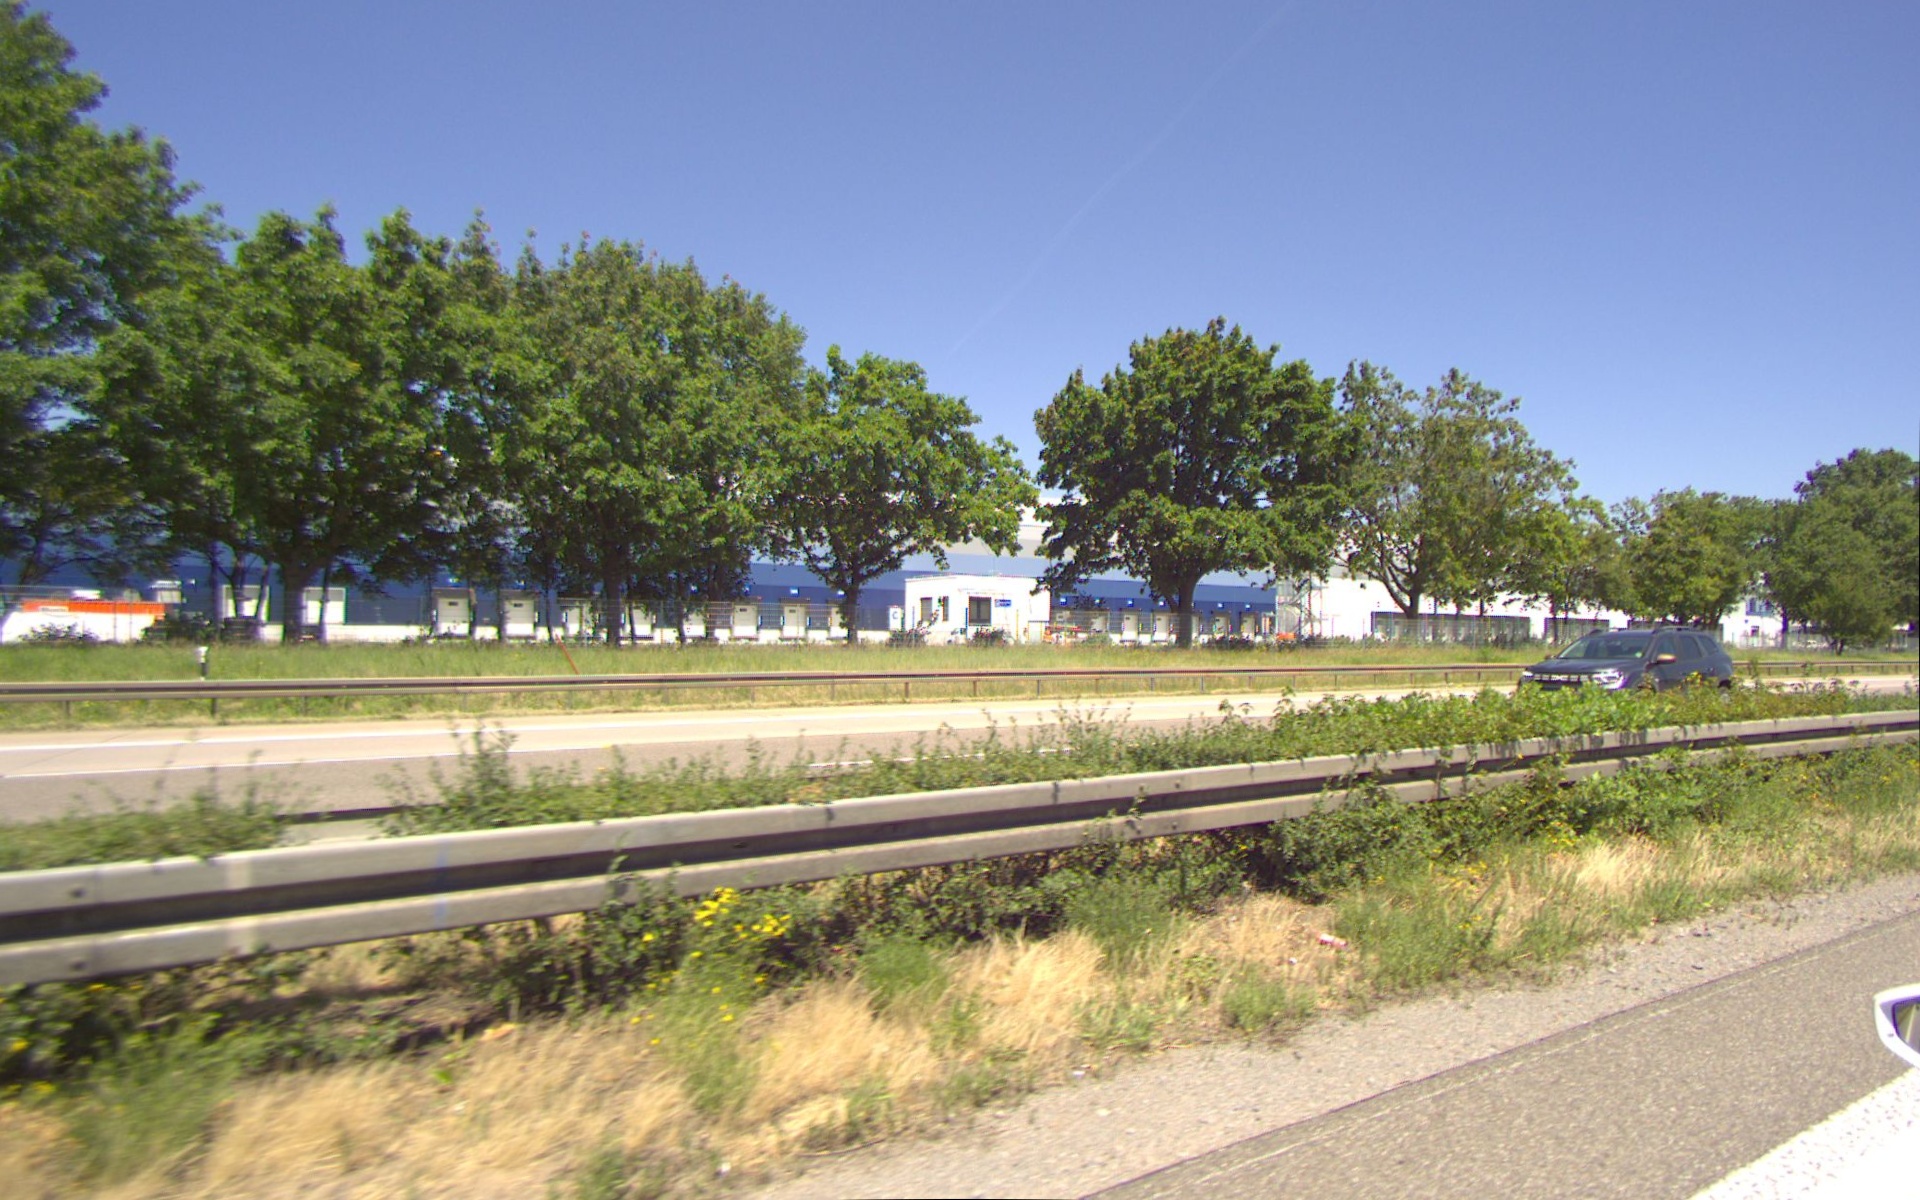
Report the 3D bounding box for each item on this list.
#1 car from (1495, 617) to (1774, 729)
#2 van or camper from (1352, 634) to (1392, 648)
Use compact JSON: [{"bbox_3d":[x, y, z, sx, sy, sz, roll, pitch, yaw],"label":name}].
[{"bbox_3d":[11.462,1.216,17.007,4.802,1.661,1.985,2,-5,-31],"label":"car"},{"bbox_3d":[49.839,4.997,121.475,4.961,1.674,1.984,2,-2,-30],"label":"van or camper"}]
